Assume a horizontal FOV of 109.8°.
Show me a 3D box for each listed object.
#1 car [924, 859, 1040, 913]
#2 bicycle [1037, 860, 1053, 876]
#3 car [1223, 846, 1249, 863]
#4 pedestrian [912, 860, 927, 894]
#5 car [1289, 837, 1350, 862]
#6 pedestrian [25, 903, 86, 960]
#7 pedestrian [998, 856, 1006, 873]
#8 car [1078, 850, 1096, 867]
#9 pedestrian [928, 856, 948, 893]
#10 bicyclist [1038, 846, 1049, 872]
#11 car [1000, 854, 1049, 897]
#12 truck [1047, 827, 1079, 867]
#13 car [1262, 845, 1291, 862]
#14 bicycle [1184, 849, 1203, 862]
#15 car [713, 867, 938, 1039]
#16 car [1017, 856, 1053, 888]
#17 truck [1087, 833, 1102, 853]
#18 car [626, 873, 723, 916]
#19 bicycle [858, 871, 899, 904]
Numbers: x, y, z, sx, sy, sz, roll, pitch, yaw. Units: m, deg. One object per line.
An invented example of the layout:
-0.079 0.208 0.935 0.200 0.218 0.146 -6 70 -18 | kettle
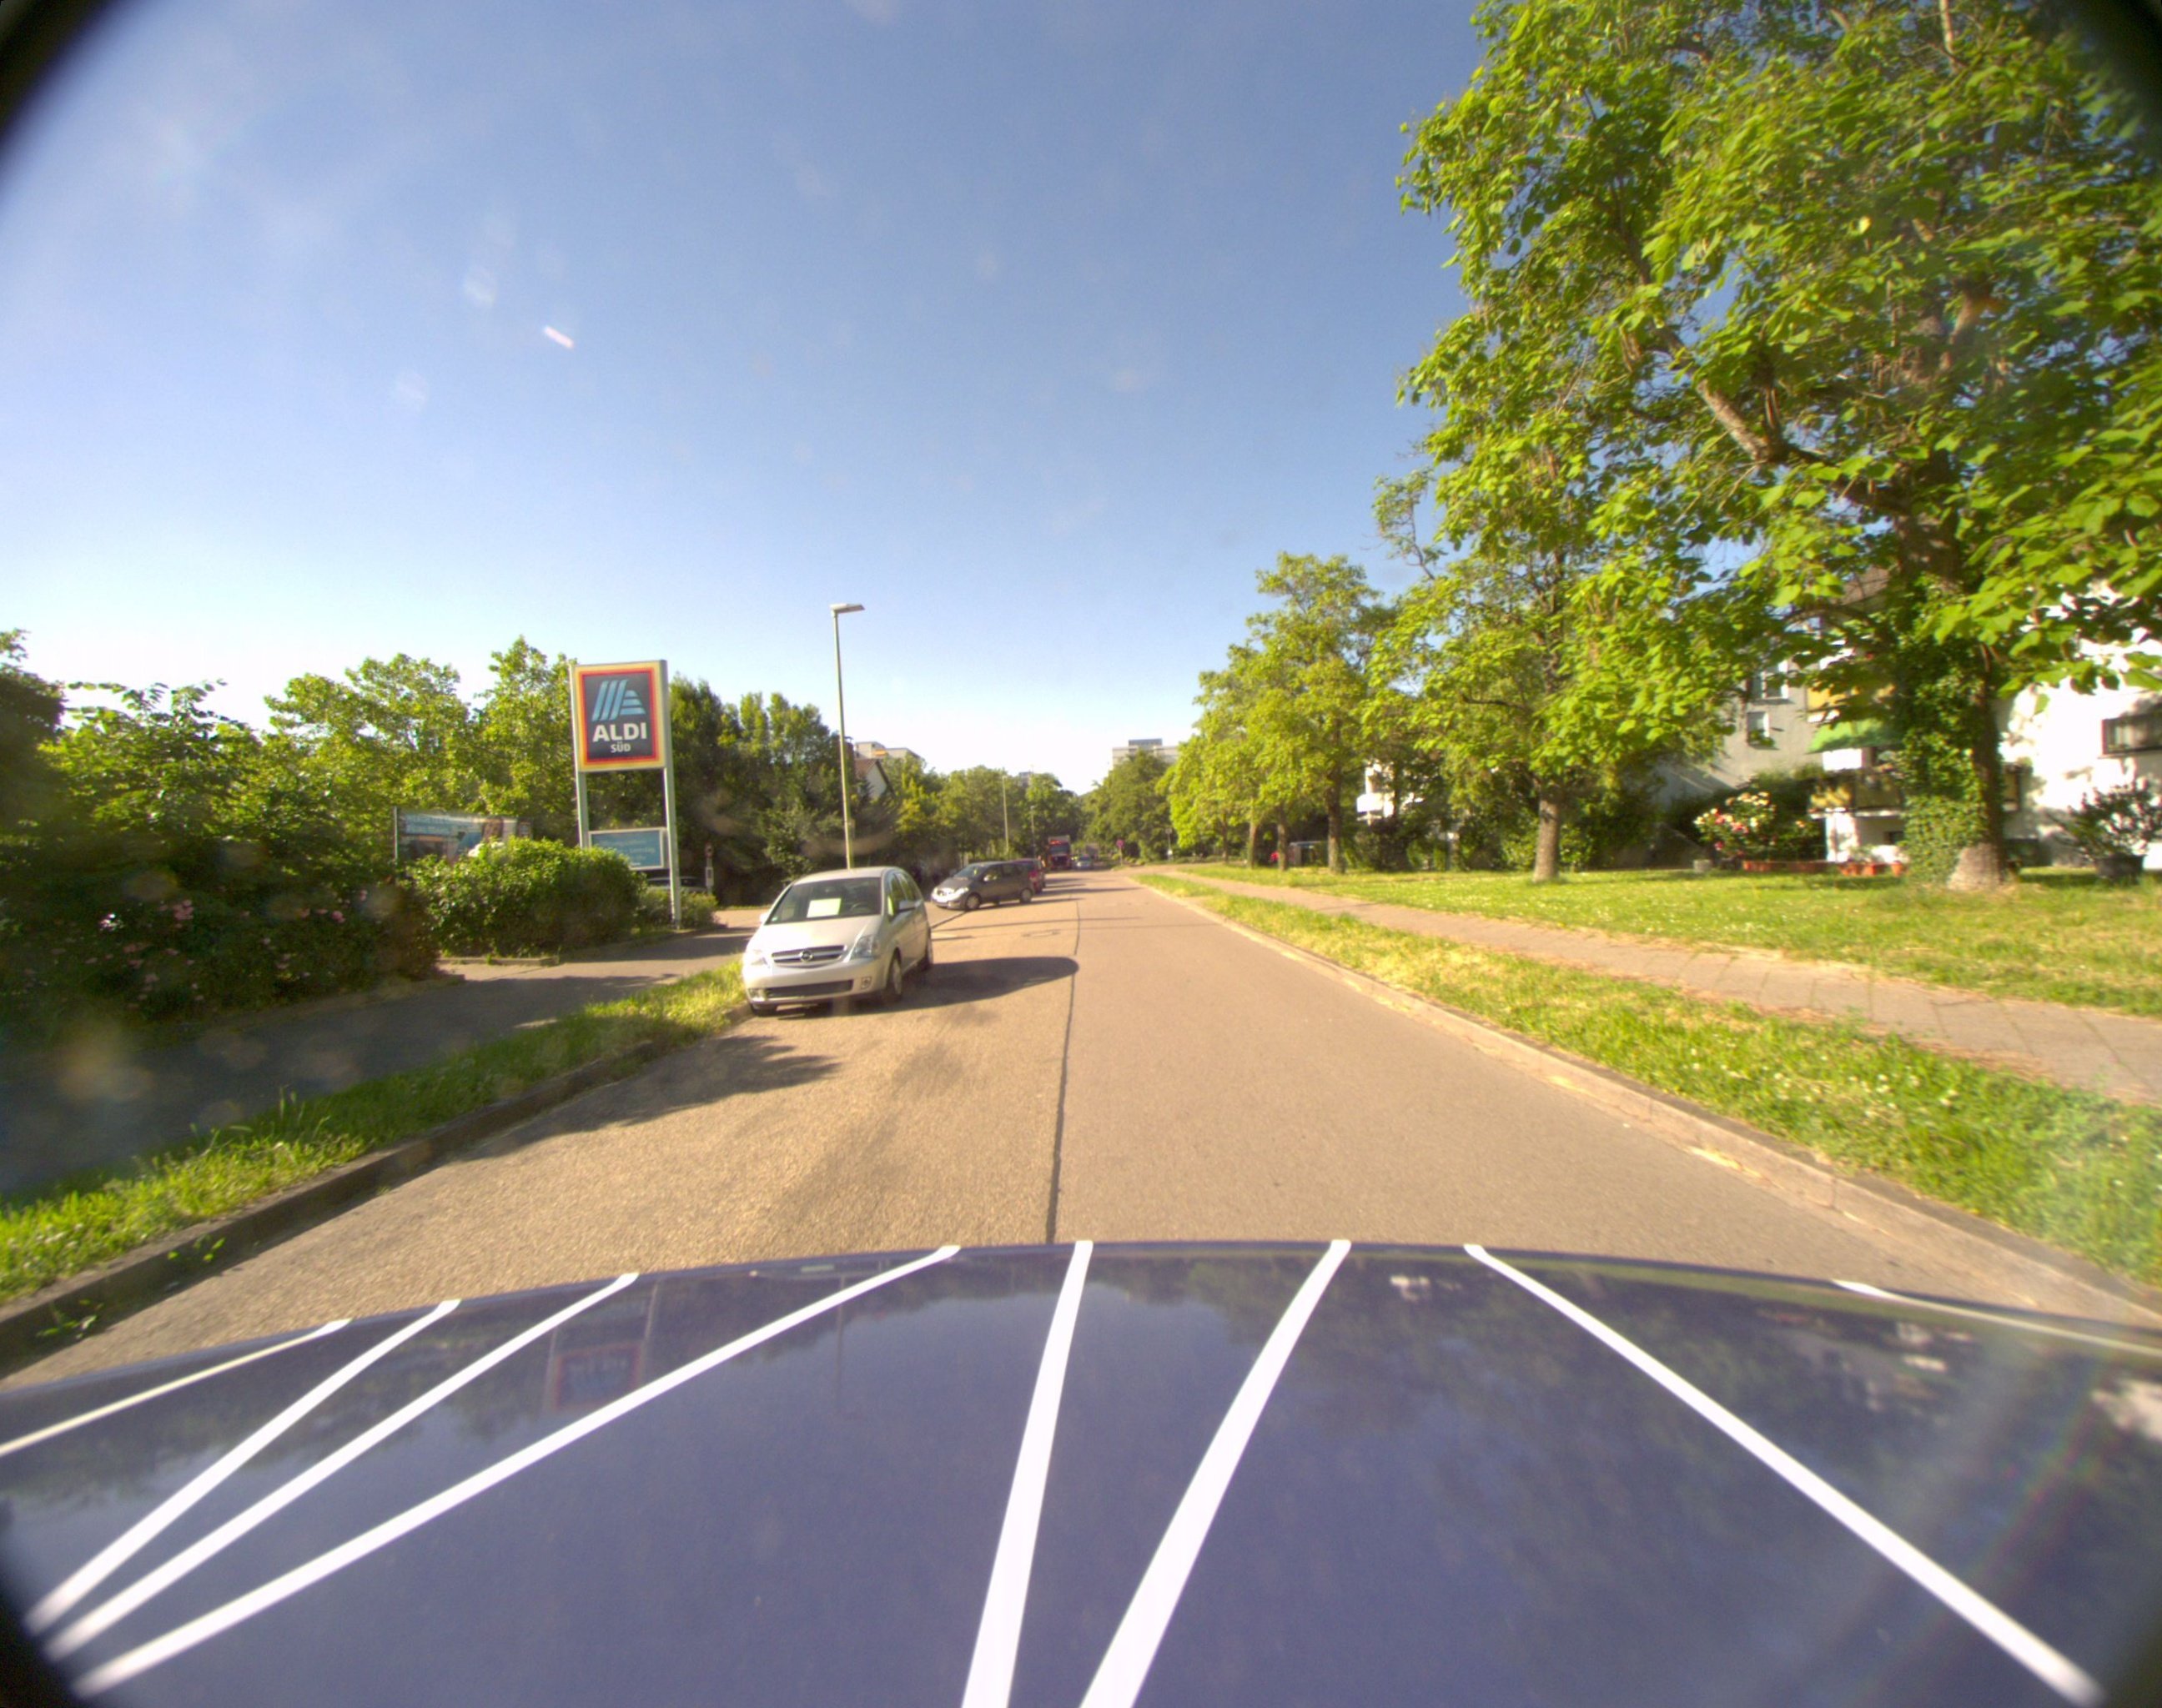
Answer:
-3.482 1.099 27.189 1.851 1.635 3.763 -3 0 43 | car
-2.896 1.098 60.603 0.863 1.164 3.028 -4 1 -9 | bicycle
15.225 0.066 74.770 1.674 1.479 3.884 -3 2 -1 | car
-7.950 1.117 37.433 0.574 1.600 0.792 -1 2 -3 | pedestrian
20.126 -0.352 64.292 4.461 1.957 2.069 -2 0 3 | car
-31.757 2.394 23.536 0.673 1.646 0.828 -3 0 -1 | pedestrian
-7.909 1.036 76.147 0.641 1.629 0.641 -3 1 3 | pedestrian
0.657 0.507 85.520 1.844 1.795 4.029 -3 1 2 | car
-7.047 0.999 37.426 0.806 1.707 0.983 -1 2 -3 | pedestrian
-2.974 0.404 60.874 0.753 2.002 0.711 -3 1 -1 | bicyclist
-2.674 0.969 36.994 1.844 1.795 4.653 -3 1 1 | car
-2.067 -0.844 92.040 3.166 4.320 10.583 -3 1 1 | truck
18.805 -0.052 73.298 1.674 1.479 3.884 -3 2 -1 | car
11.584 0.151 78.201 1.902 1.146 0.760 -3 4 10 | bicycle
-3.036 1.063 9.933 1.684 1.590 4.026 -3 1 -3 | car
-2.574 0.992 43.724 1.729 1.647 4.352 -3 0 0 | car
2.755 -2.266 156.699 2.804 3.996 9.622 -1 2 -1 | truck
-16.425 1.595 30.931 1.777 1.494 3.802 -3 0 0 | car
-8.297 1.368 31.216 0.721 1.214 1.898 -1 2 16 | bicycle
